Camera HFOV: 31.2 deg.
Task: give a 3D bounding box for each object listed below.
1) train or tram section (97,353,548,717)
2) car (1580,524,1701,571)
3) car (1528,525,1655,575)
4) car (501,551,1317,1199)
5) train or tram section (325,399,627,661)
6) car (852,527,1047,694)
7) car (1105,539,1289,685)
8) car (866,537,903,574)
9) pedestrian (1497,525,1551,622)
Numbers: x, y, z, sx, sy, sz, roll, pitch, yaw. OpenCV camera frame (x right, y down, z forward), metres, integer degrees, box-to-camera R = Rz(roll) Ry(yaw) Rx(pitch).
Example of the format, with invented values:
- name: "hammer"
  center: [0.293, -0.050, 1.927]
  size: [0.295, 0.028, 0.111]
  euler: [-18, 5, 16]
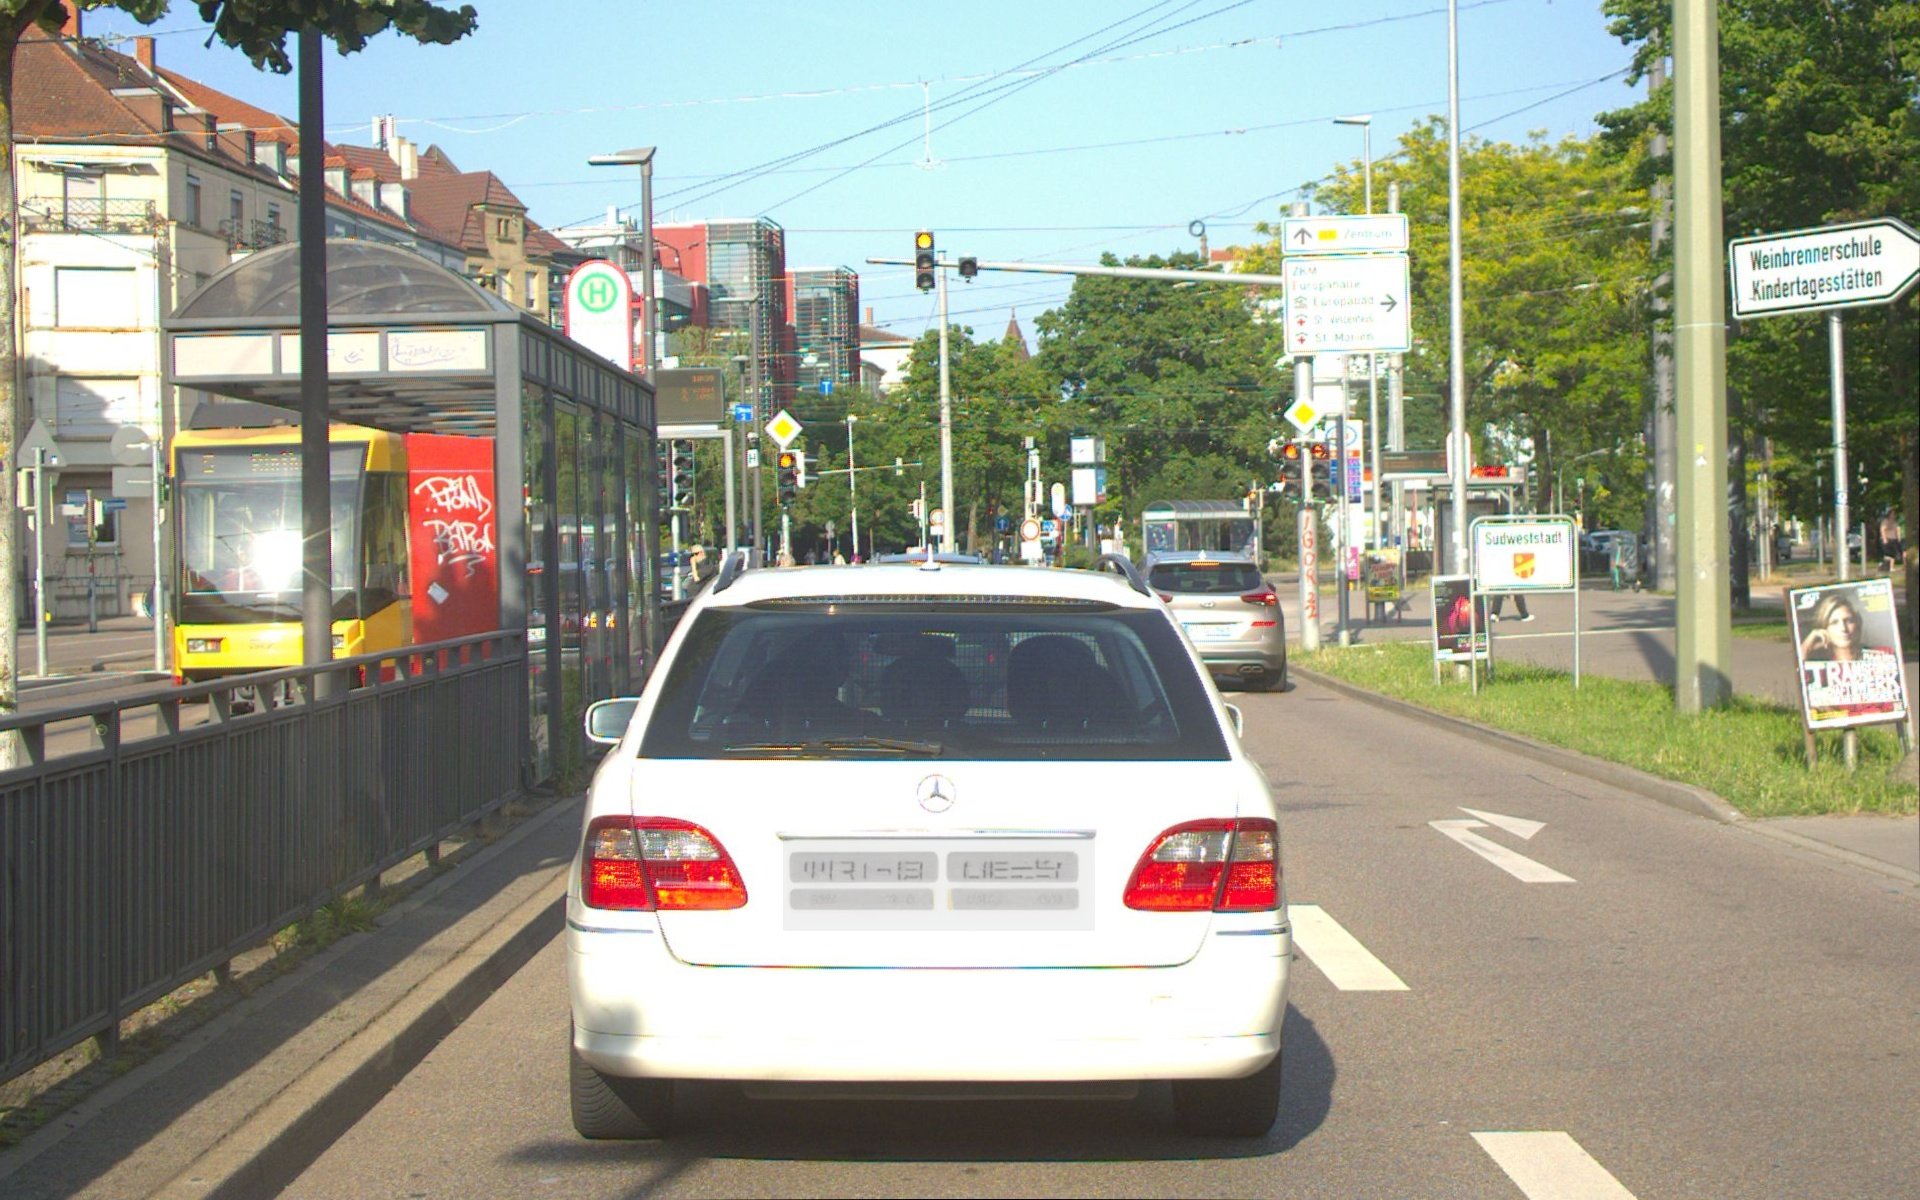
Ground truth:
- name: "train or tram section"
  center: [-6.863, -0.781, 39.366]
  size: [2.849, 3.467, 13.201]
  euler: [0, 1, -1]
- name: "car"
  center: [25.280, -1.941, 127.767]
  size: [3.986, 1.645, 2.000]
  euler: [-2, 1, -26]
- name: "car"
  center: [22.156, -1.765, 120.616]
  size: [3.992, 1.645, 1.997]
  euler: [-1, 1, 26]
- name: "car"
  center: [-0.179, 0.642, 9.560]
  size: [1.758, 1.498, 4.000]
  euler: [-1, 1, -2]
- name: "train or tram section"
  center: [-7.067, -1.076, 52.279]
  size: [2.849, 3.467, 13.201]
  euler: [0, 1, -1]
- name: "car"
  center: [-0.060, 0.067, 36.931]
  size: [1.787, 1.684, 4.000]
  euler: [0, 1, 4]
- name: "car"
  center: [2.782, 0.100, 40.336]
  size: [2.033, 1.600, 4.000]
  euler: [0, 1, 4]
- name: "car"
  center: [-4.198, -2.468, 191.205]
  size: [1.993, 2.007, 4.000]
  euler: [-1, 1, -1]
- name: "pedestrian"
  center: [9.629, -0.457, 58.680]
  size: [0.887, 1.646, 0.745]
  euler: [0, 1, 8]
